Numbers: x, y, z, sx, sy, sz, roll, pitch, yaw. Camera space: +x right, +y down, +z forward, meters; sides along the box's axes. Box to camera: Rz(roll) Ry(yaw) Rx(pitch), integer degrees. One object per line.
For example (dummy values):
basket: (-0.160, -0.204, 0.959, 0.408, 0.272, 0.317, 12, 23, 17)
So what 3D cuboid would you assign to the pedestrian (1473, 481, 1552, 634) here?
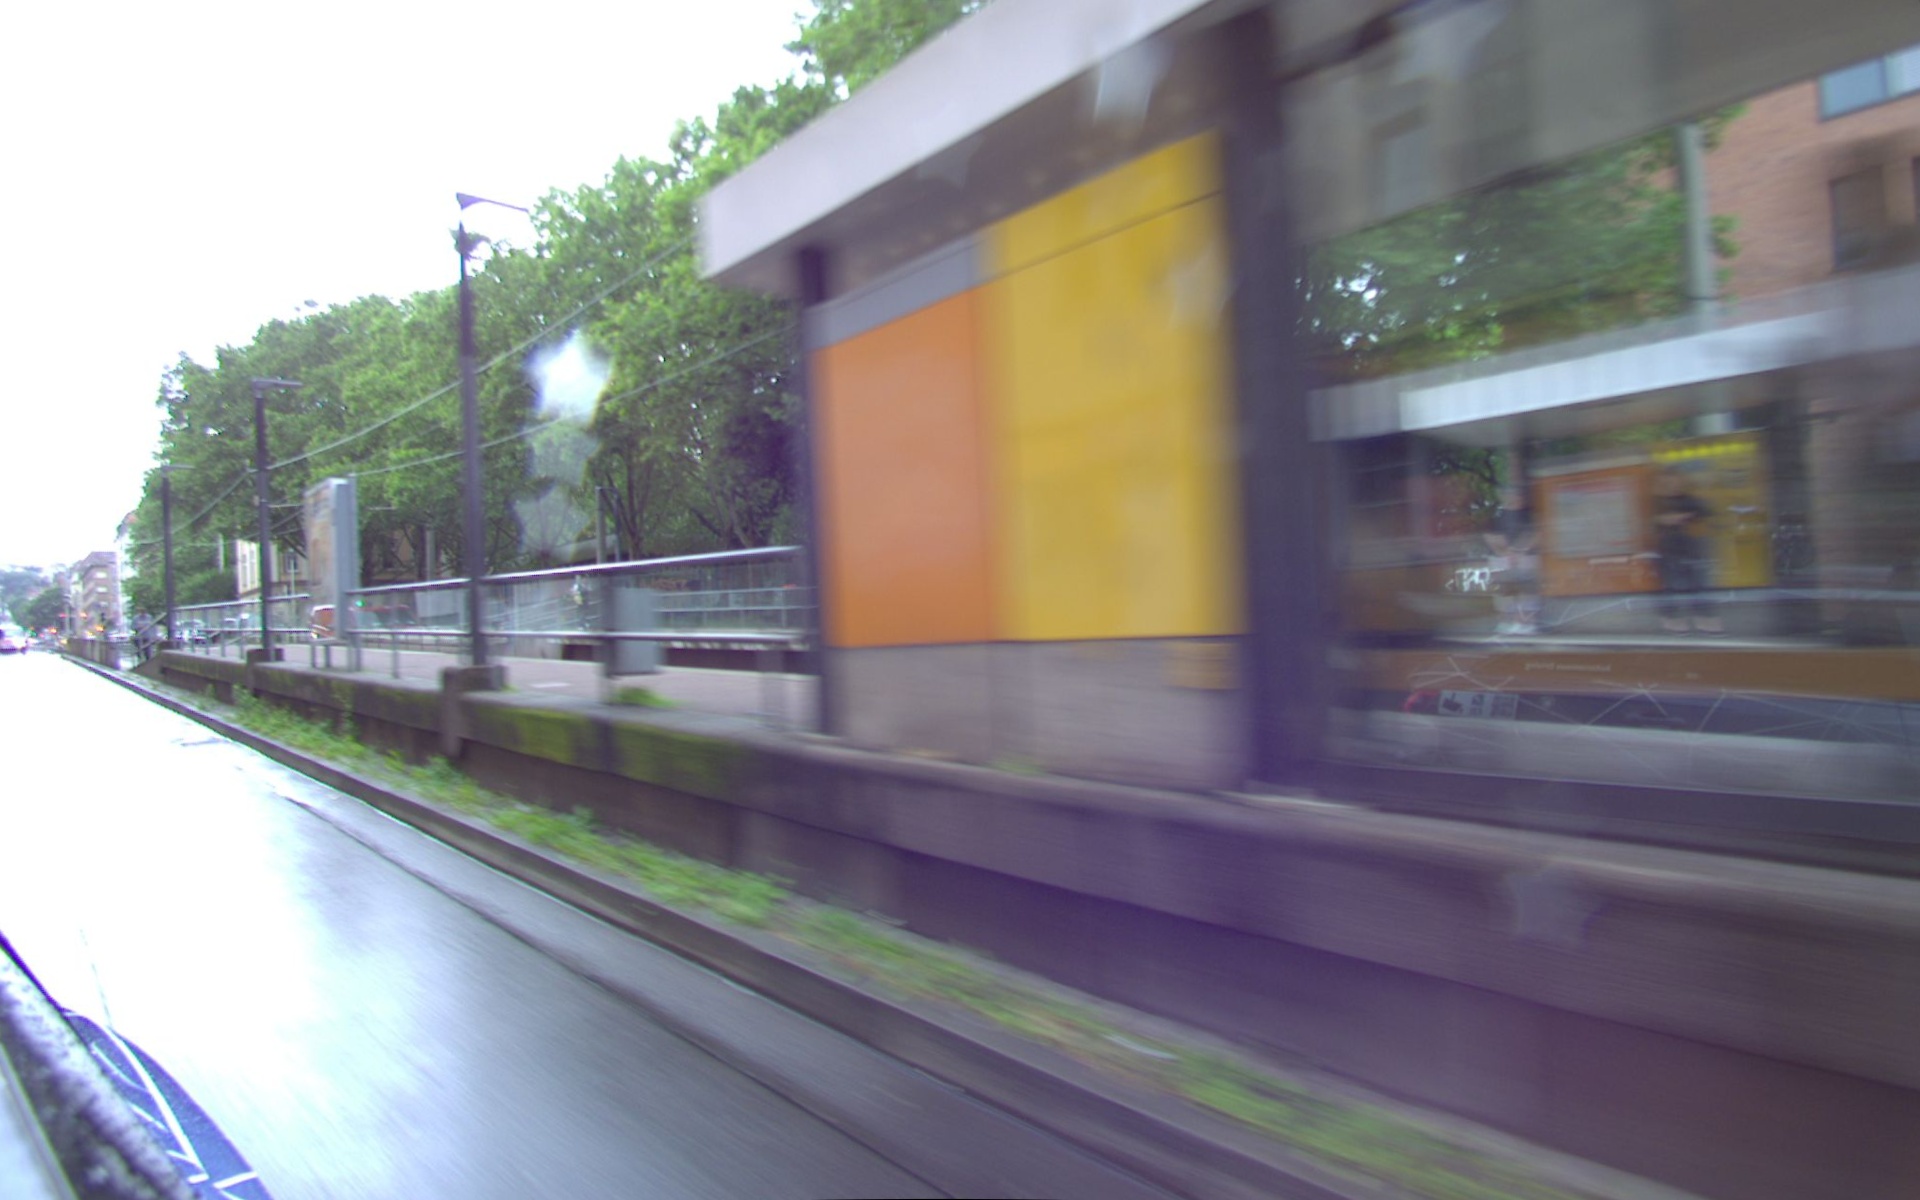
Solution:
pedestrian: (6.218, -0.464, 11.385, 0.564, 1.653, 0.679, -3, -1, 44)

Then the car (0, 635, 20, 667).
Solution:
car: (-51.429, 2.775, 54.130, 1.598, 1.614, 4.068, 0, -3, -45)

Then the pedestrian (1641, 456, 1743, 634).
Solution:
pedestrian: (7.433, -0.531, 10.280, 0.706, 1.728, 0.556, -3, -1, 44)

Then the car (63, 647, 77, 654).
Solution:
car: (-151.711, 8.606, 172.558, 2.910, 1.175, 1.550, -3, -2, 43)

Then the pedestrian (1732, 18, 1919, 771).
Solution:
pedestrian: (2.237, -0.437, 2.329, 0.498, 1.601, 0.529, -1, -1, -28)

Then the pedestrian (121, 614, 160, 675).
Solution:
pedestrian: (-25.416, 1.366, 31.372, 0.849, 1.813, 0.788, -1, -1, -44)

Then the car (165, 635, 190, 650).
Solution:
car: (-76.200, 4.128, 98.514, 3.283, 1.411, 1.463, -3, -2, 44)

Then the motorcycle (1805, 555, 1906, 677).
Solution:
motorcycle: (14.702, 0.215, 16.555, 1.007, 1.787, 3.820, -2, -1, 44)

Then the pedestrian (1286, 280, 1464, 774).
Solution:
pedestrian: (1.481, -0.238, 3.608, 0.450, 1.617, 0.405, -2, -1, 40)

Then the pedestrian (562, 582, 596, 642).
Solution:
pedestrian: (-11.160, 0.353, 29.655, 0.650, 1.676, 0.688, -1, -4, -44)

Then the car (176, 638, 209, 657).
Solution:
car: (-66.080, 4.056, 87.118, 1.865, 1.488, 3.810, -2, 0, -43)
